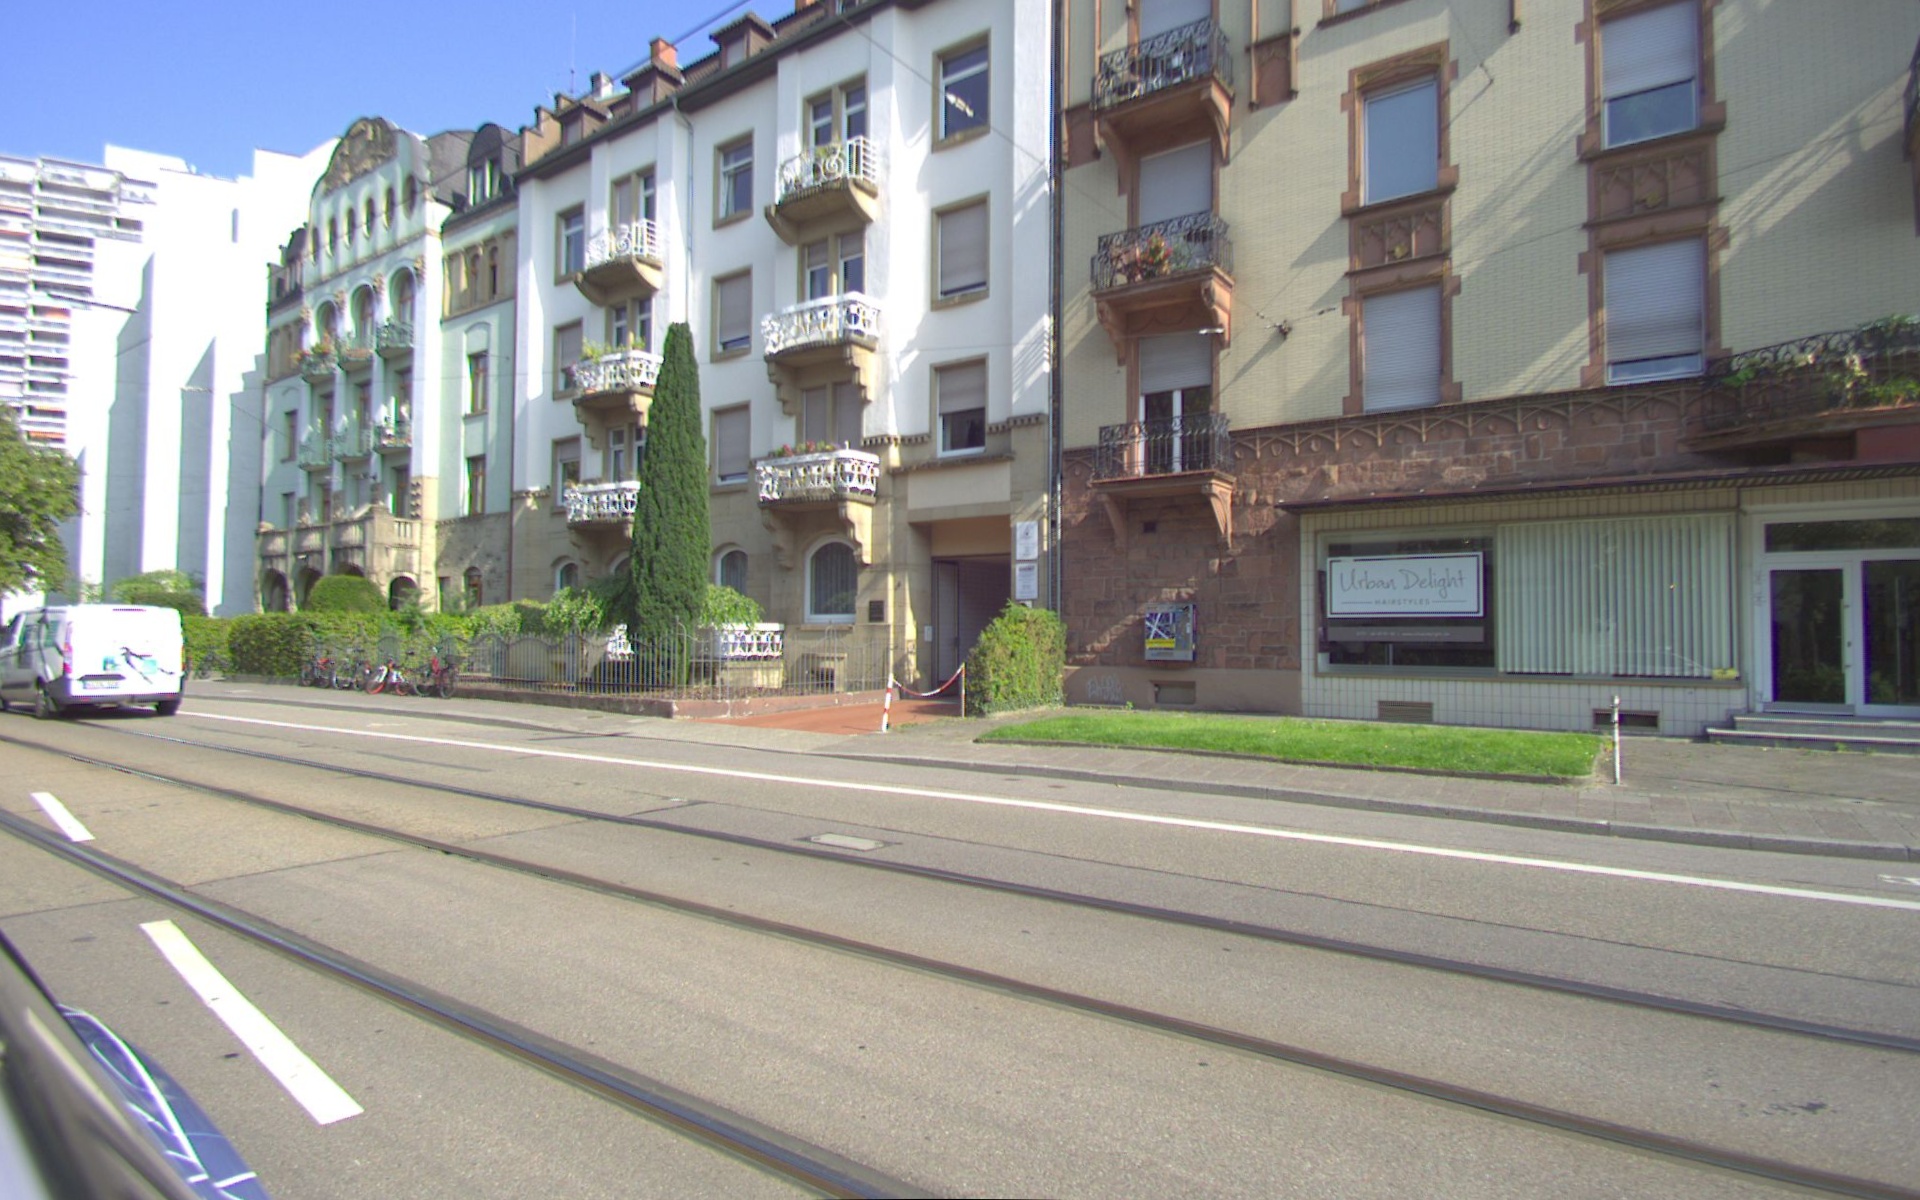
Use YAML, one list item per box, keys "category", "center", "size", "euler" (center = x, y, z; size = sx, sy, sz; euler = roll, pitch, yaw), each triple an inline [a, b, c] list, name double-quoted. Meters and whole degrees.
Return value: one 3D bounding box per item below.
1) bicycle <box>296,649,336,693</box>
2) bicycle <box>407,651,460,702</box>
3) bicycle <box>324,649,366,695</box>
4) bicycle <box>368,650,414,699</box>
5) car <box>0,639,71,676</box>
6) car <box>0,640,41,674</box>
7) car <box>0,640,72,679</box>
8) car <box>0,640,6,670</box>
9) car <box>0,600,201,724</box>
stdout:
- category: "bicycle"
  center: [-16.653, 1.823, 26.160]
  size: [1.352, 1.096, 0.367]
  euler: [-2, -3, 35]
- category: "bicycle"
  center: [-11.640, 1.676, 22.357]
  size: [1.484, 1.096, 0.367]
  euler: [-2, -3, 35]
- category: "bicycle"
  center: [-15.253, 1.771, 25.081]
  size: [1.352, 1.096, 0.367]
  euler: [-2, -3, 35]
- category: "bicycle"
  center: [-13.123, 1.706, 23.327]
  size: [1.352, 1.096, 0.367]
  euler: [-2, -3, 35]
- category: "car"
  center: [-41.439, 2.507, 44.379]
  size: [1.744, 1.539, 4.007]
  euler: [1, -3, -9]
- category: "car"
  center: [-43.932, 2.563, 45.765]
  size: [1.743, 1.539, 4.010]
  euler: [1, -3, -13]
- category: "car"
  center: [-38.779, 2.433, 41.594]
  size: [1.743, 1.539, 4.010]
  euler: [1, -3, -13]
- category: "car"
  center: [-49.848, 2.749, 50.298]
  size: [1.743, 1.539, 4.010]
  euler: [1, -3, -13]
- category: "car"
  center: [-16.309, 1.120, 18.752]
  size: [4.844, 2.029, 1.978]
  euler: [-1, -4, 33]
